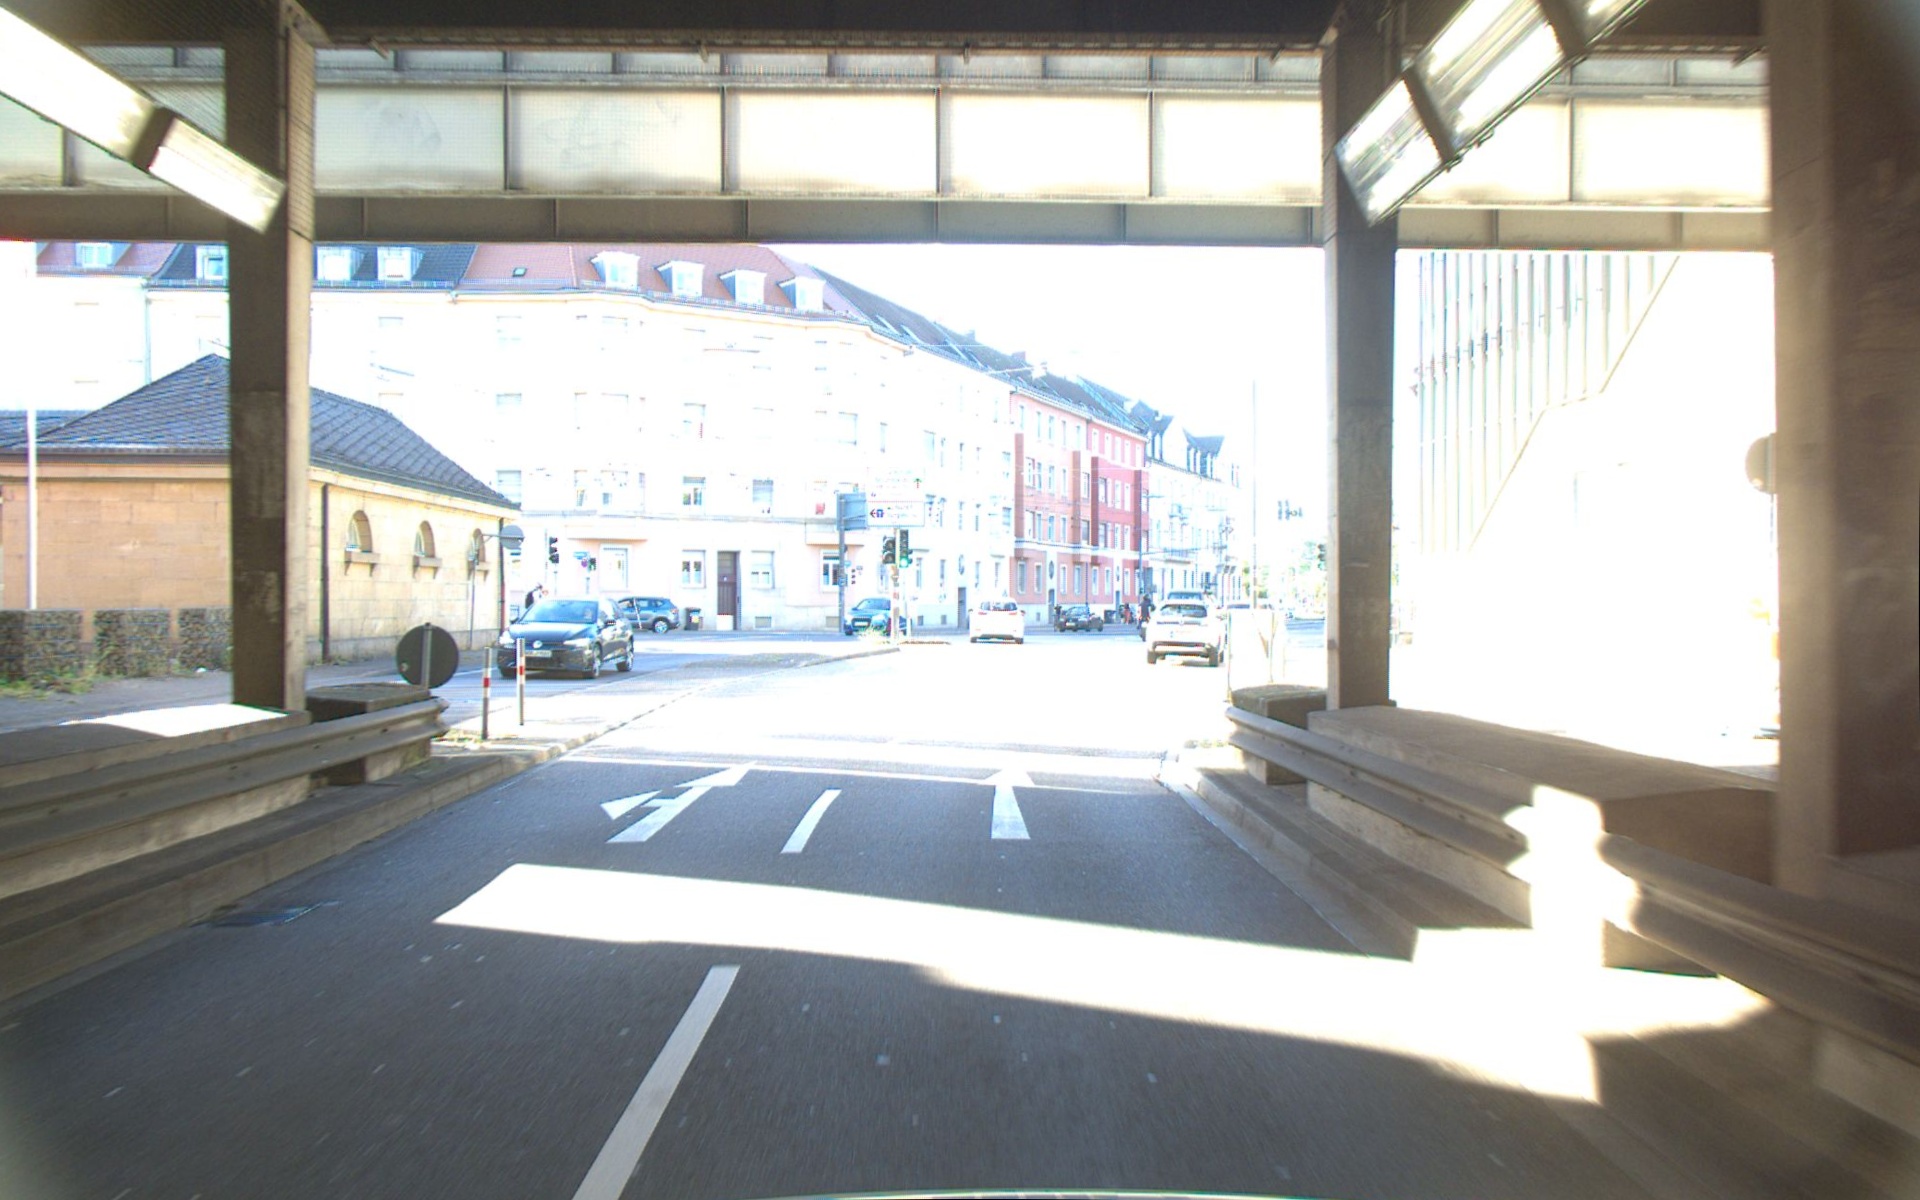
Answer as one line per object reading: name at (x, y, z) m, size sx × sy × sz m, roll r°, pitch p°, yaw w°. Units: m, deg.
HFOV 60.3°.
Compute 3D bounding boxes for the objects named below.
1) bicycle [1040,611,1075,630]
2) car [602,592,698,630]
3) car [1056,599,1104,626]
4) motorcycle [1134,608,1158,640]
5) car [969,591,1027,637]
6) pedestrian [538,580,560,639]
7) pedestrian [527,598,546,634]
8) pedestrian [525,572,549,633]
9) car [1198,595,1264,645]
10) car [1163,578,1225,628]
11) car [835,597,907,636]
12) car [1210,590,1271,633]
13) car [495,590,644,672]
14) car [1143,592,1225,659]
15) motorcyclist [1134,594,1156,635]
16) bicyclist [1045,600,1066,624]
bicycle at (5.746, 1.178, 97.026) m, size 0.915 × 1.074 × 3.352 m, roll 0°, pitch 0°, yaw 25°
car at (-13.212, 0.466, 70.431) m, size 3.806 × 1.601 × 1.921 m, roll 1°, pitch 0°, yaw -17°
car at (6.709, 0.676, 92.104) m, size 1.785 × 1.450 × 4.329 m, roll 0°, pitch 0°, yaw 17°
motorcycle at (6.743, 0.864, 60.022) m, size 0.760 × 1.101 × 2.283 m, roll 0°, pitch 0°, yaw 9°
car at (1.196, 0.441, 53.856) m, size 1.750 × 1.418 × 4.105 m, roll 0°, pitch 0°, yaw -1°
pedestrian at (-11.835, 0.274, 47.578) m, size 0.482 × 1.668 × 0.620 m, roll 0°, pitch 0°, yaw -28°
pedestrian at (-18.788, 0.716, 73.411) m, size 0.703 × 1.591 × 0.677 m, roll 0°, pitch 0°, yaw -2°
pedestrian at (-11.668, 0.065, 45.585) m, size 0.507 × 1.668 × 0.620 m, roll 0°, pitch 0°, yaw -28°
car at (8.843, 0.625, 53.791) m, size 1.694 × 1.527 × 4.003 m, roll 1°, pitch 0°, yaw 15°
car at (10.052, 0.137, 70.824) m, size 2.126 × 2.044 × 4.811 m, roll 0°, pitch 0°, yaw 14°
car at (-3.369, 0.615, 63.518) m, size 1.771 × 1.415 × 4.251 m, roll 1°, pitch 0°, yaw 11°
car at (10.736, 0.436, 63.190) m, size 1.776 × 1.610 × 4.002 m, roll 0°, pitch 0°, yaw 17°
car at (-7.300, 0.530, 31.327) m, size 1.716 × 1.429 × 4.416 m, roll 1°, pitch 0°, yaw 1°
car at (5.562, 0.597, 41.074) m, size 1.906 × 1.555 × 4.093 m, roll 1°, pitch 0°, yaw 8°
motorcyclist at (6.723, 0.520, 59.990) m, size 0.760 × 1.448 × 0.892 m, roll 0°, pitch 0°, yaw 9°
bicyclist at (5.587, 0.683, 96.689) m, size 0.915 × 1.406 × 1.147 m, roll 0°, pitch 0°, yaw 25°
